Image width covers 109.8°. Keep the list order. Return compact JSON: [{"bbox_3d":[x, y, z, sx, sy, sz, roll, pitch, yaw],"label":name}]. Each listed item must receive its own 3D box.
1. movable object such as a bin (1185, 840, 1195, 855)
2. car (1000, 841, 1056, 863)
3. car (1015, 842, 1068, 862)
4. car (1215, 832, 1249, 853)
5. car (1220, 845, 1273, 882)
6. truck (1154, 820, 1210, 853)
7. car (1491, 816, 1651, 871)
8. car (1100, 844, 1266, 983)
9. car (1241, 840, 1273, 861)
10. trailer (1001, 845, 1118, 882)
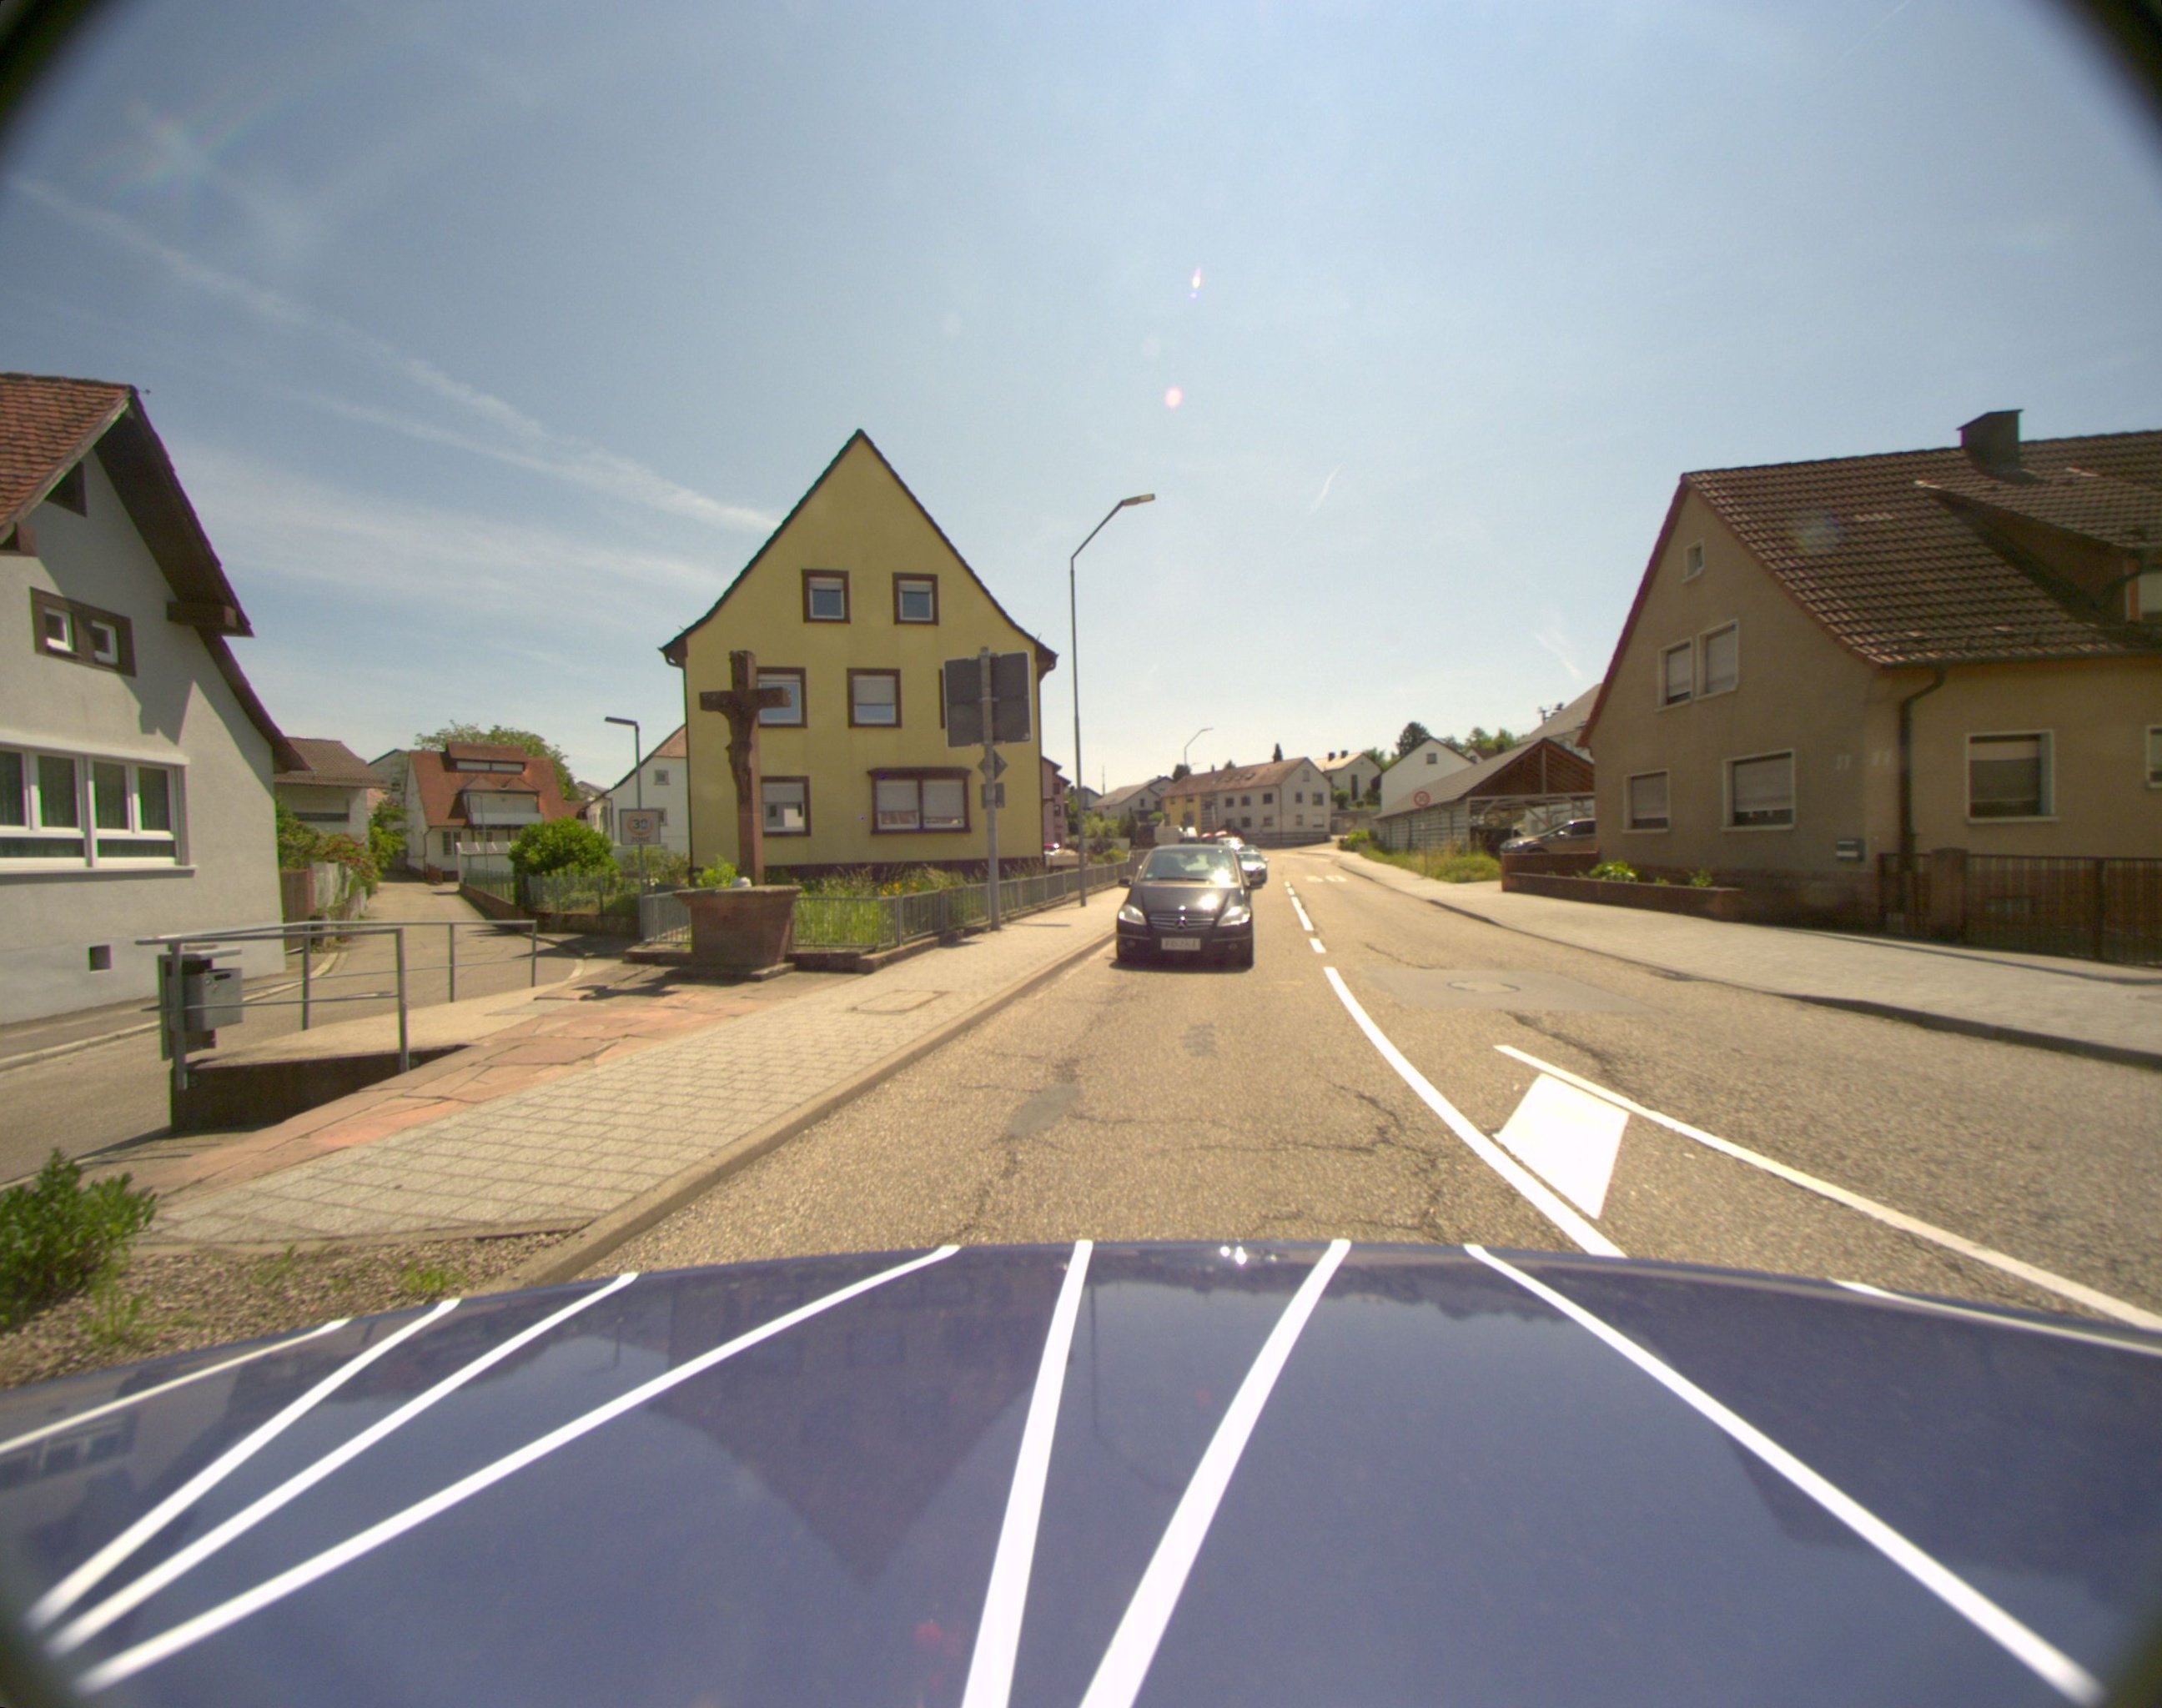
[{"bbox_3d":[7.797,-0.504,54.422,0.566,1.051,0.651,-1,2,-2],"label":"movable object such as a bin"},{"bbox_3d":[-4.168,-0.184,59.552,4.127,1.539,1.848,-2,2,-13],"label":"car"},{"bbox_3d":[-3.006,-0.166,57.212,3.838,1.477,1.759,-1,1,-9],"label":"car"},{"bbox_3d":[14.305,-1.083,72.283,1.868,1.897,5.034,-3,1,-3],"label":"car"},{"bbox_3d":[6.855,0.355,31.202,1.811,1.307,4.004,-2,2,16],"label":"car"},{"bbox_3d":[12.007,-2.026,91.133,3.208,3.579,8.293,-3,1,-19],"label":"truck"},{"bbox_3d":[16.388,-0.350,25.650,4.130,1.629,1.867,-2,1,15],"label":"car"},{"bbox_3d":[1.682,0.691,11.068,1.762,1.583,4.202,-2,1,16],"label":"car"},{"bbox_3d":[12.868,-0.274,55.681,1.895,1.368,4.002,-3,1,8],"label":"car"},{"bbox_3d":[-1.098,0.431,37.591,5.366,1.537,2.135,-3,2,-15],"label":"trailer"}]
